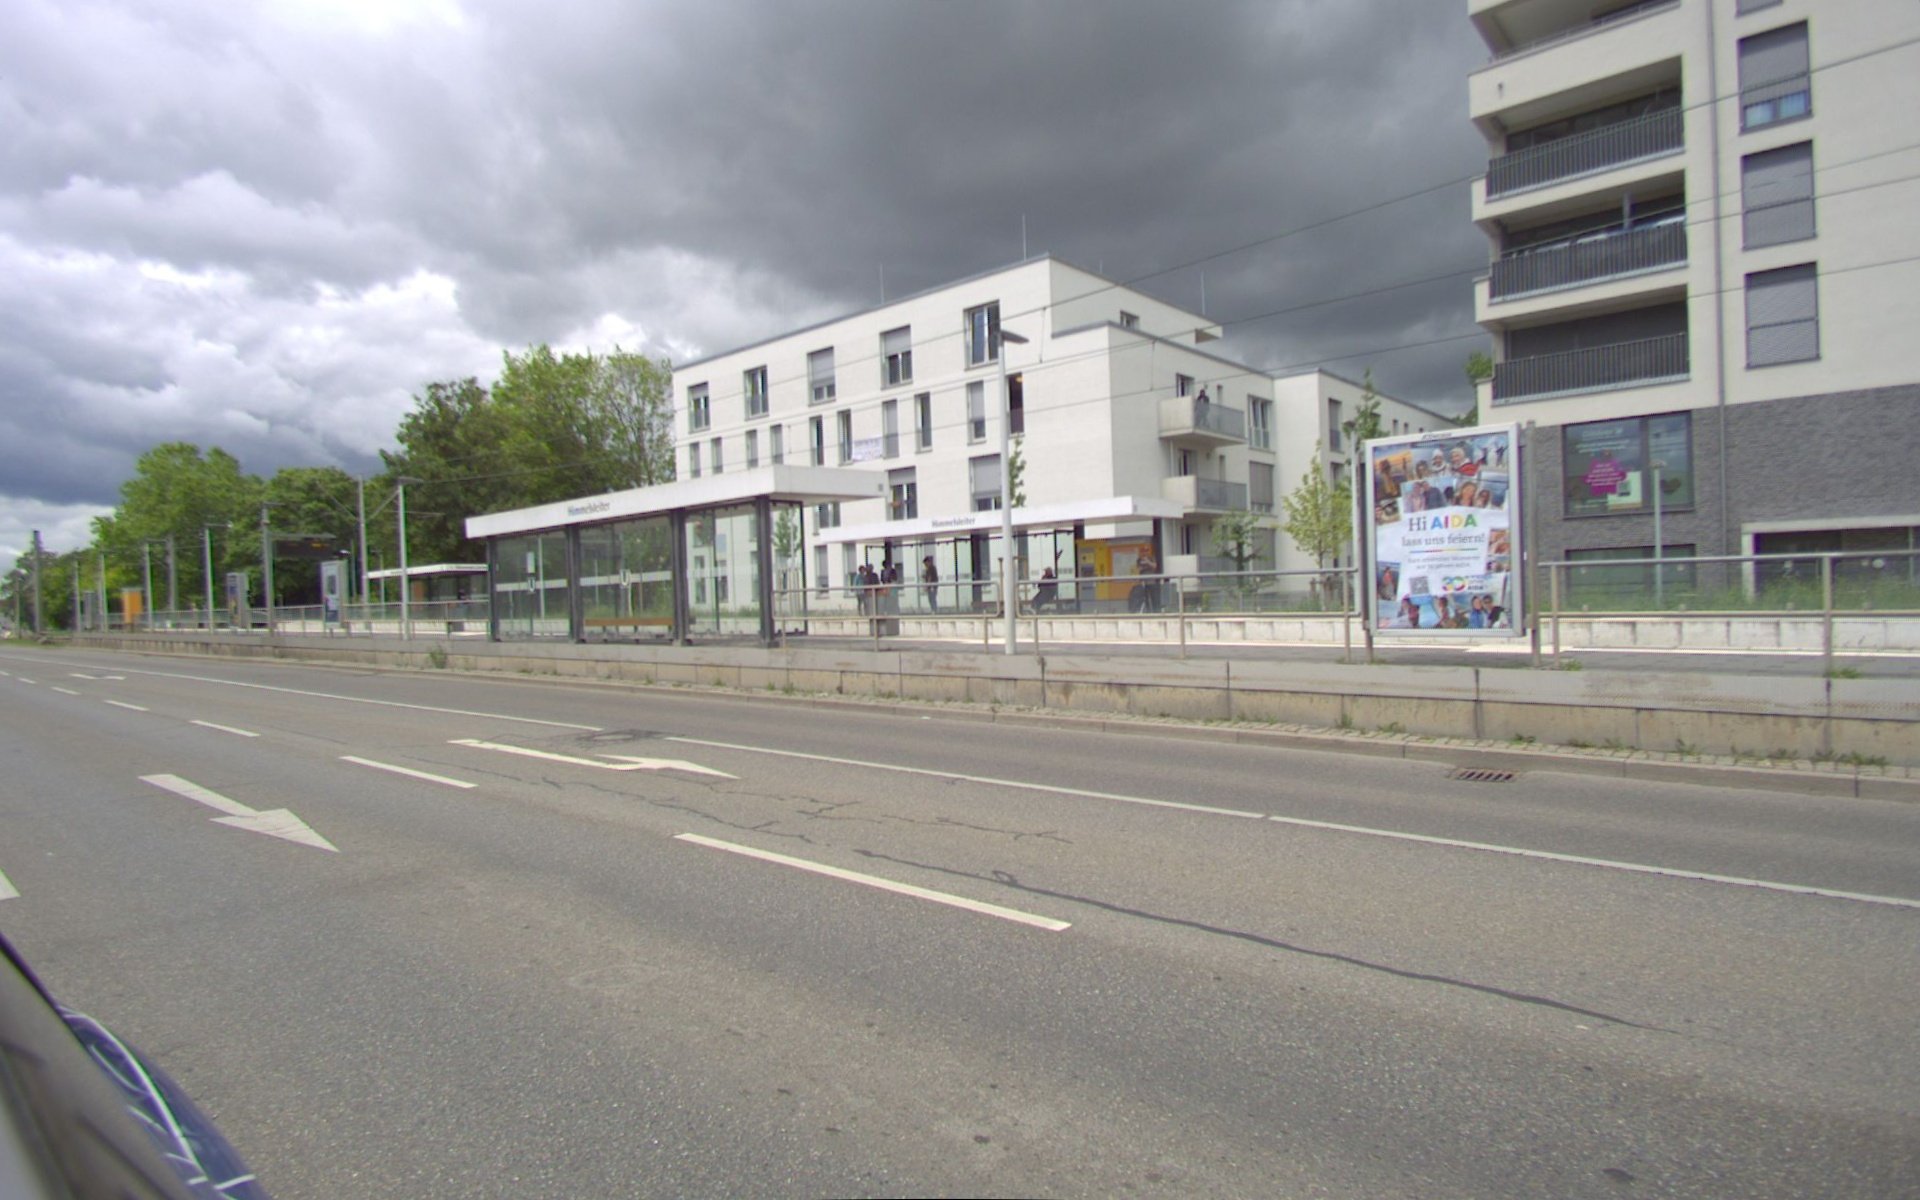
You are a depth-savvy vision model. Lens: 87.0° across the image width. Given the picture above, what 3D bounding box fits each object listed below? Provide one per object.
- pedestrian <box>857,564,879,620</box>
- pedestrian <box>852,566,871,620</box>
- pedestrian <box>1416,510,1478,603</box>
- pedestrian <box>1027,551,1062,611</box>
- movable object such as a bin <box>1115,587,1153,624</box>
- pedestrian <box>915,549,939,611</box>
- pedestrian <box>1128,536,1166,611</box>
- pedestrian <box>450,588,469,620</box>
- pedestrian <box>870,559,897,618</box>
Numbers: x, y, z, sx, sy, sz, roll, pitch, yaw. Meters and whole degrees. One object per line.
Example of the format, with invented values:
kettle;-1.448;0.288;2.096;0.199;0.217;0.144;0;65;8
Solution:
pedestrian;-2.683;-0.230;29.454;0.481;1.608;0.679;-2;0;-15
pedestrian;-2.977;-0.215;30.534;0.481;1.608;0.679;-2;0;-7
pedestrian;9.690;-0.853;20.135;0.933;1.779;0.669;-2;0;39
pedestrian;2.257;-0.492;26.999;0.677;1.566;0.555;-2;0;42
movable object such as a bin;4.154;0.121;24.128;0.677;0.856;0.555;-2;0;42
pedestrian;-0.961;-0.567;29.431;0.481;1.779;0.679;-2;0;-15
pedestrian;4.524;-0.641;24.506;0.677;1.779;0.555;-2;0;42
pedestrian;-24.288;0.189;49.108;0.731;1.542;0.549;-2;0;-23
pedestrian;-2.298;-0.340;30.470;0.669;1.738;0.488;-2;0;6
